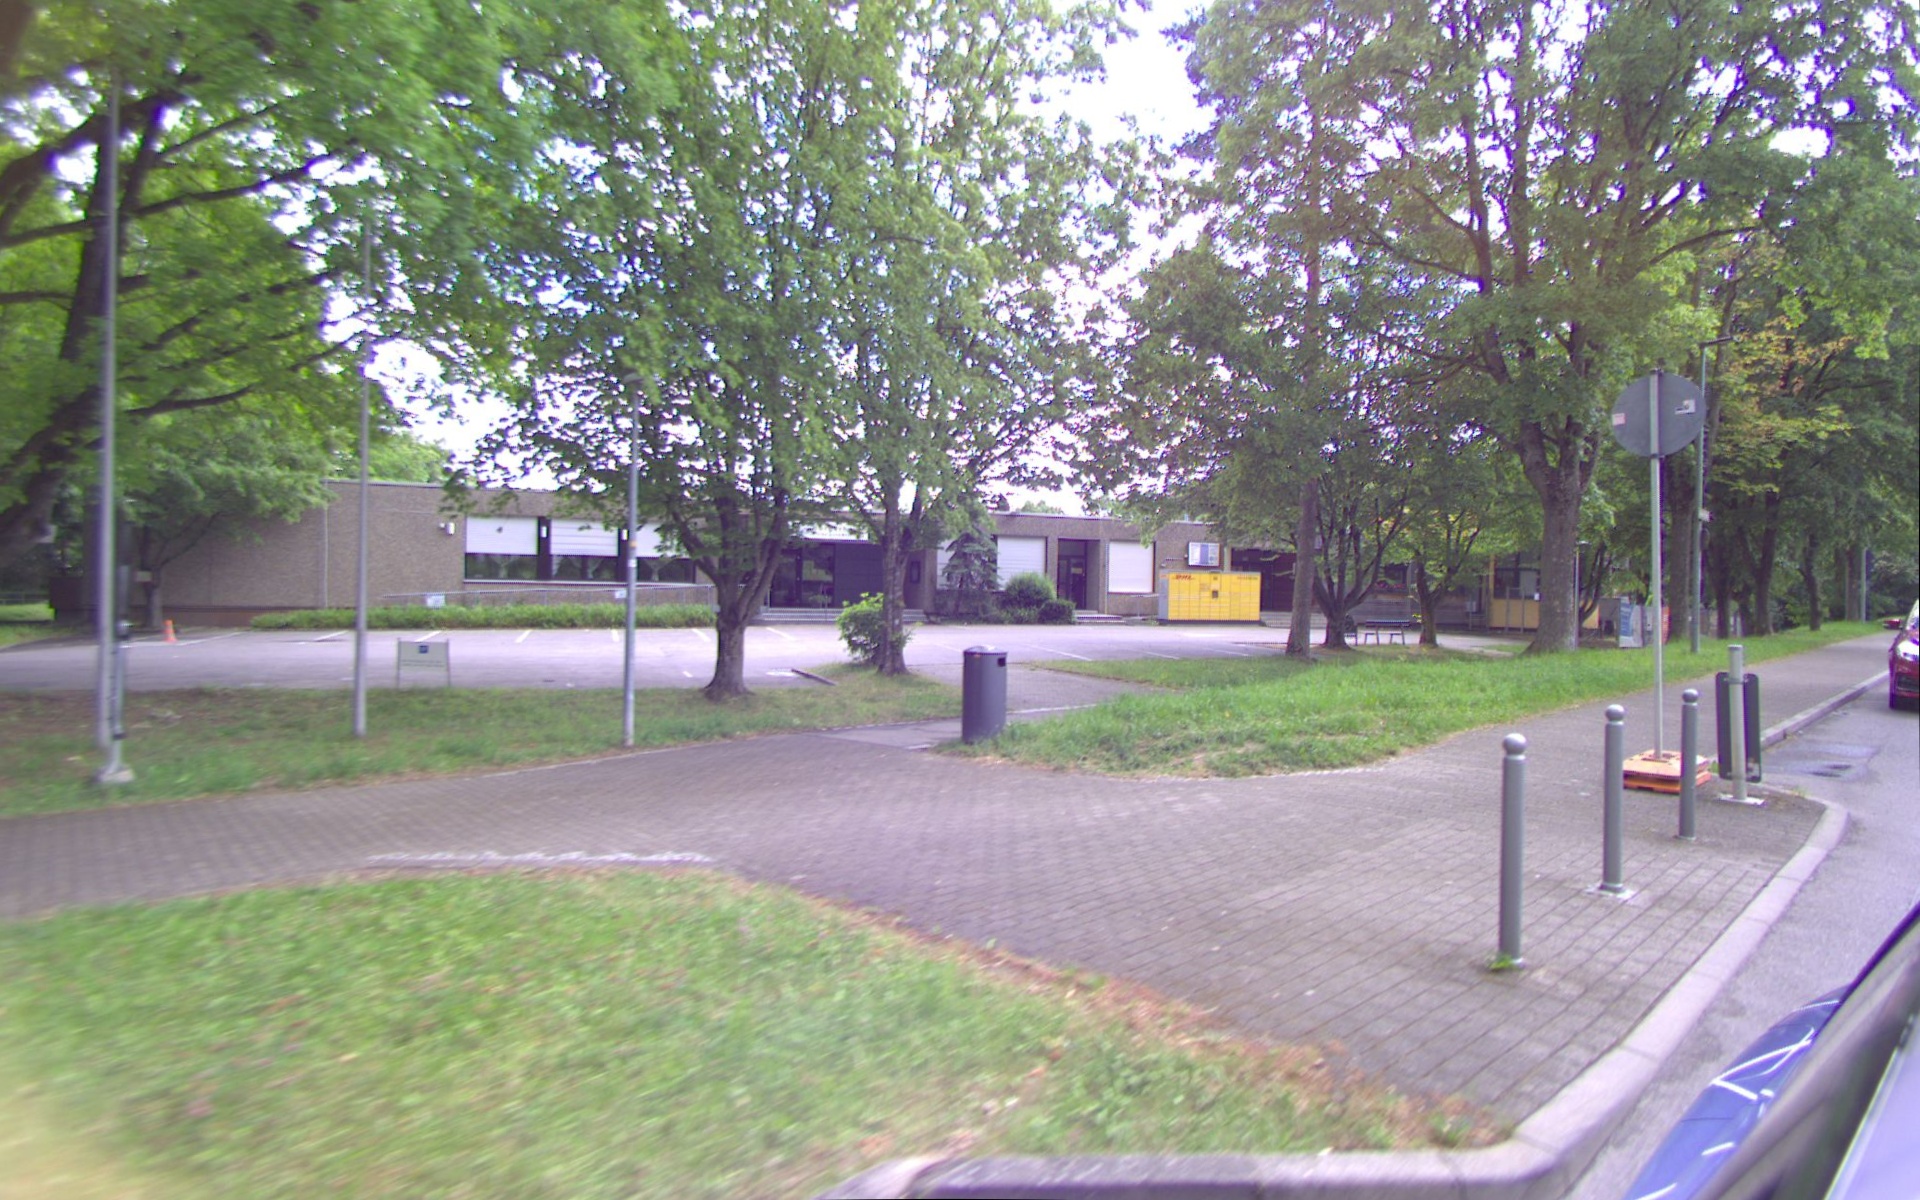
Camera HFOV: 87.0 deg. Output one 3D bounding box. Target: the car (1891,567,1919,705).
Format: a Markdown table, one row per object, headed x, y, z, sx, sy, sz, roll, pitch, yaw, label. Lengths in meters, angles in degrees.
| x | y | z | sx | sy | sz | roll | pitch | yaw | label |
| --- | --- | --- | --- | --- | --- | --- | --- | --- | --- |
| 14.252 | 0.470 | 13.615 | 3.927 | 1.748 | 1.818 | -1 | 4 | -38 | car |
